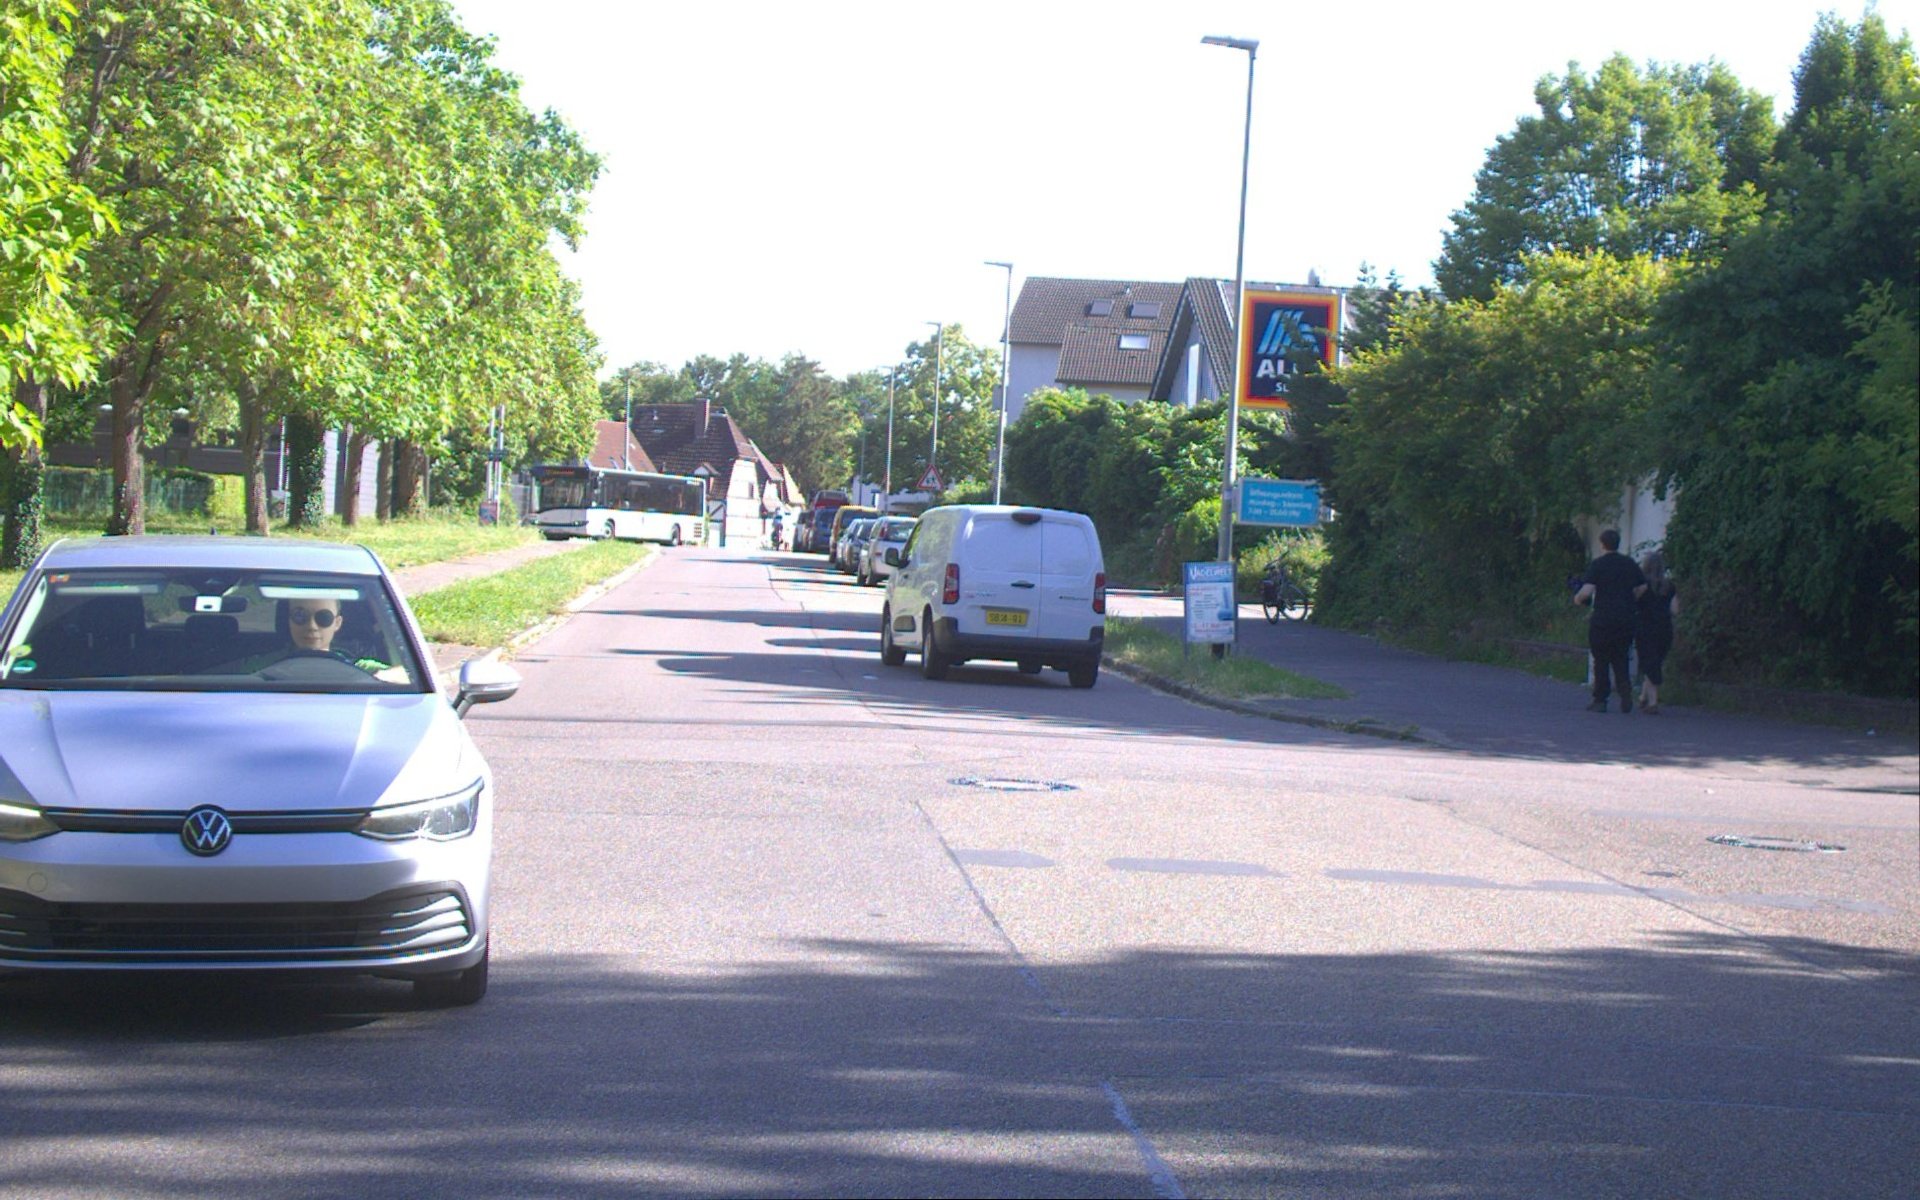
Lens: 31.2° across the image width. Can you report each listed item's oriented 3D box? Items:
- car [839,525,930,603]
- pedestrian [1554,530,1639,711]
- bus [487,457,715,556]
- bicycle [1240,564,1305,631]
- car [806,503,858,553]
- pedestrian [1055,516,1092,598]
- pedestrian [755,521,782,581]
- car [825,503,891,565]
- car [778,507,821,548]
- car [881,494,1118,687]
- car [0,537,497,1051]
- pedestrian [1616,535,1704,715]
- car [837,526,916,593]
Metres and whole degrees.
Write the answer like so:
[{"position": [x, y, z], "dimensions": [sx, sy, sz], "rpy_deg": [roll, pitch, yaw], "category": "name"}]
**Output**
[{"position": [-1.744, -0.832, 77.794], "dimensions": [1.781, 1.647, 4.001], "rpy_deg": [2, 1, -4], "category": "car"}, {"position": [6.049, 0.189, 32.674], "dimensions": [0.569, 1.677, 0.514], "rpy_deg": [3, 1, -7], "category": "pedestrian"}, {"position": [-13.101, -3.389, 126.578], "dimensions": [4.070, 3.337, 9.789], "rpy_deg": [3, 1, 23], "category": "bus"}, {"position": [5.131, -0.032, 56.367], "dimensions": [0.637, 1.023, 2.163], "rpy_deg": [5, 1, 14], "category": "bicycle"}, {"position": [-4.993, -2.794, 133.370], "dimensions": [1.781, 1.802, 4.001], "rpy_deg": [2, 1, -4], "category": "car"}, {"position": [2.867, -1.099, 86.744], "dimensions": [0.641, 2.007, 0.701], "rpy_deg": [5, 1, -10], "category": "pedestrian"}, {"position": [-6.961, -1.769, 124.784], "dimensions": [0.752, 2.106, 0.799], "rpy_deg": [5, 1, -1], "category": "pedestrian"}, {"position": [-3.186, -2.052, 106.571], "dimensions": [1.781, 1.802, 4.001], "rpy_deg": [2, 1, -4], "category": "car"}, {"position": [-7.444, -3.359, 159.404], "dimensions": [1.781, 1.802, 4.001], "rpy_deg": [2, 1, -4], "category": "car"}, {"position": [0.356, -0.142, 36.637], "dimensions": [1.946, 1.836, 4.001], "rpy_deg": [3, 1, -7], "category": "car"}, {"position": [-2.638, 0.528, 11.753], "dimensions": [1.805, 1.415, 3.961], "rpy_deg": [1, 1, -11], "category": "car"}, {"position": [6.700, 0.234, 32.916], "dimensions": [0.569, 1.677, 0.514], "rpy_deg": [3, 1, -13], "category": "pedestrian"}, {"position": [-2.181, -1.071, 89.137], "dimensions": [1.781, 1.647, 4.001], "rpy_deg": [2, 1, -4], "category": "car"}]
